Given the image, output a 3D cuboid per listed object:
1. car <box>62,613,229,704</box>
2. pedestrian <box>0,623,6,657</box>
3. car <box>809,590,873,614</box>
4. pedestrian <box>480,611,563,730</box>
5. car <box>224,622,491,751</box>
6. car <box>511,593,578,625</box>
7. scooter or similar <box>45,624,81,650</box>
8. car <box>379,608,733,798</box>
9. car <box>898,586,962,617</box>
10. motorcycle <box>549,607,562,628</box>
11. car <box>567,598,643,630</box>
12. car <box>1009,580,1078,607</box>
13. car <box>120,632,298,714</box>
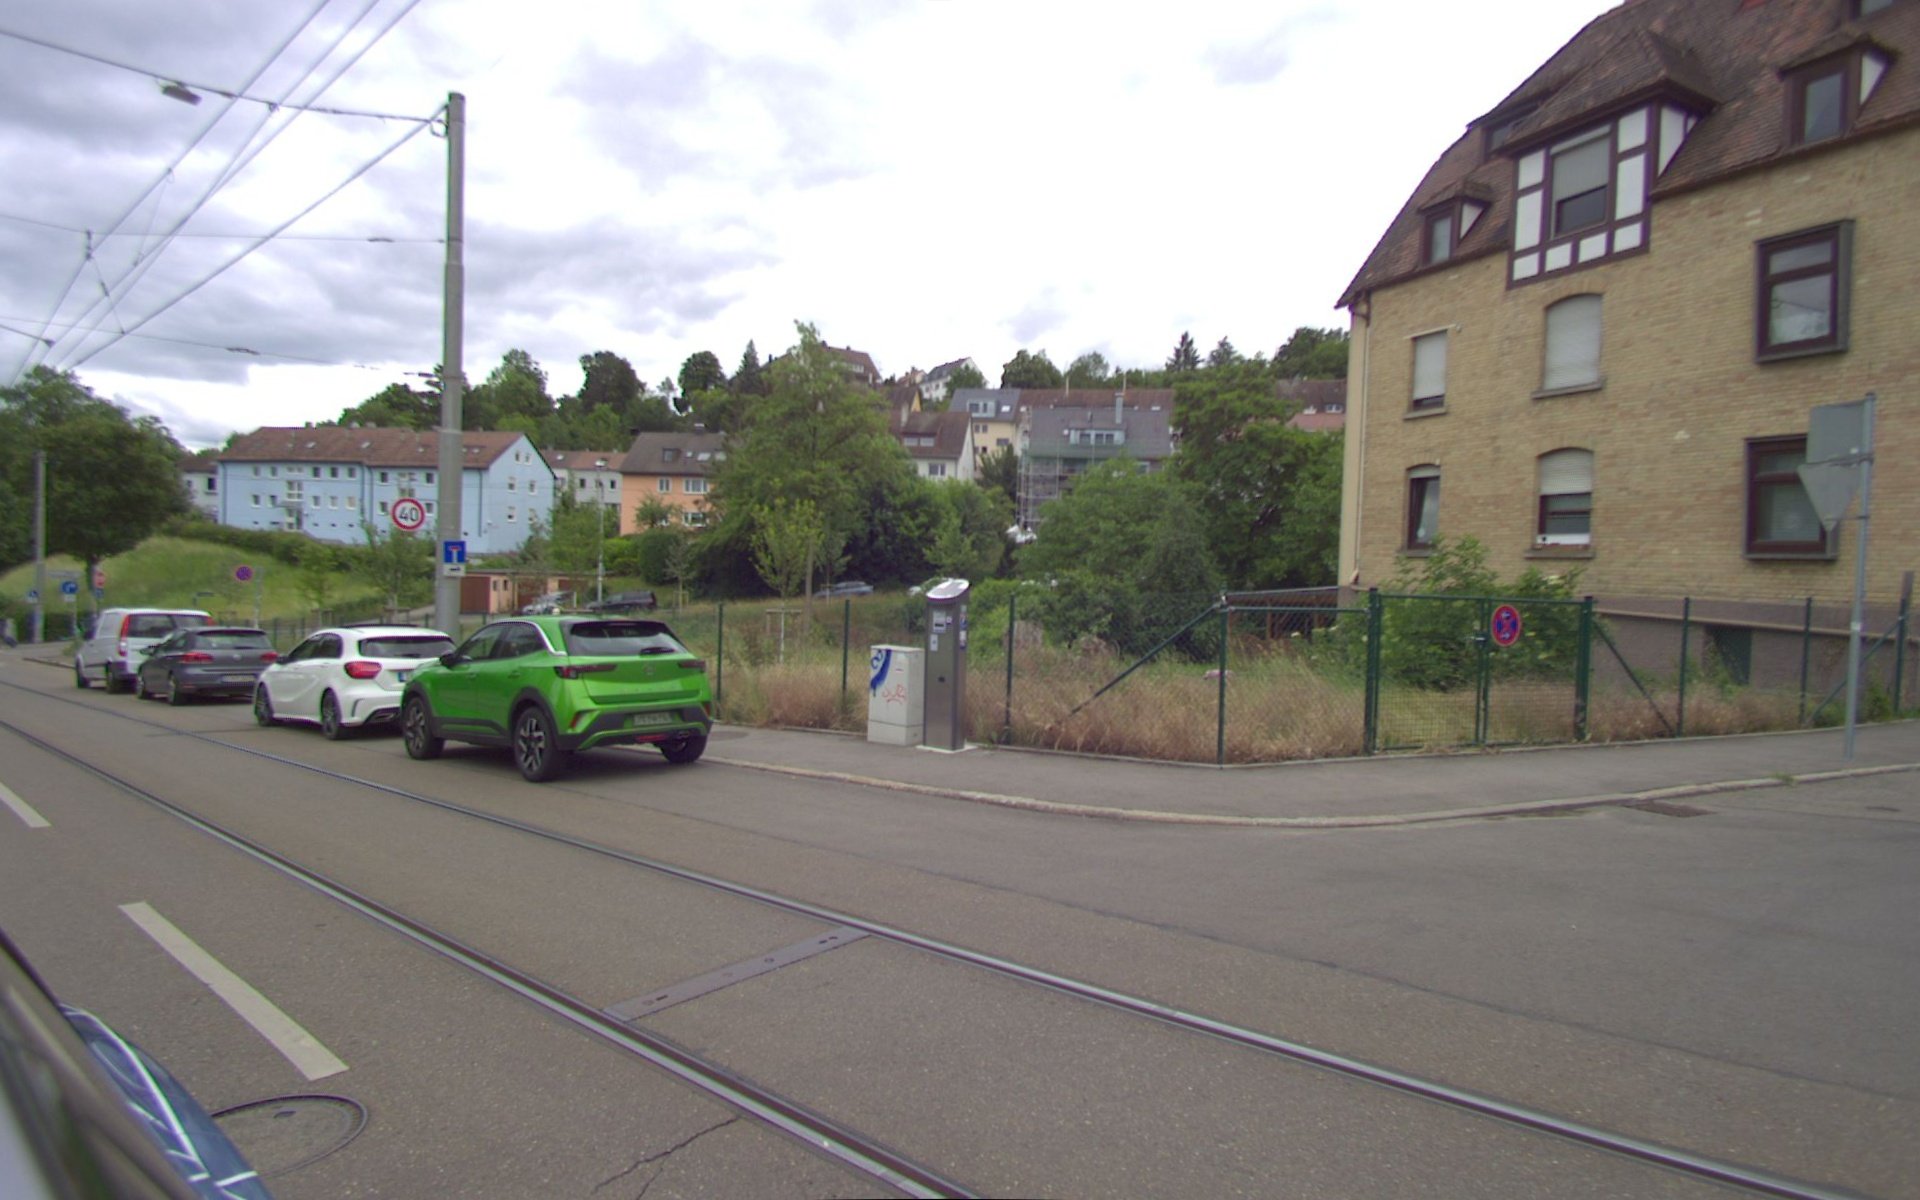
[{"bbox_3d":[-19.032,1.293,23.567,4.881,1.896,2.015,0,-3,40],"label":"car"},{"bbox_3d":[-51.933,2.159,54.370,0.887,1.763,0.744,0,0,-36],"label":"pedestrian"},{"bbox_3d":[-7.861,0.148,66.851,4.065,1.523,1.987,0,0,-10],"label":"car"},{"bbox_3d":[-6.358,0.981,14.674,0.916,1.641,0.796,0,0,42],"label":"pedestrian"},{"bbox_3d":[-8.665,1.098,14.386,4.660,1.537,1.865,-1,-2,41],"label":"car"},{"bbox_3d":[-27.870,0.561,68.034,1.976,1.624,4.871,0,5,7],"label":"car"},{"bbox_3d":[-50.927,2.091,57.456,0.418,1.298,1.394,0,4,41],"label":"scooter or similar"},{"bbox_3d":[-4.333,0.920,10.543,4.178,1.592,1.705,-1,-2,41],"label":"car"},{"bbox_3d":[-2.058,0.076,68.349,4.064,2.029,1.987,0,0,-11],"label":"car"},{"bbox_3d":[-25.335,1.064,63.462,0.513,1.165,1.710,0,4,-14],"label":"motorcycle"},{"bbox_3d":[-22.991,0.889,65.672,4.378,1.702,1.982,-4,1,-11],"label":"car"},{"bbox_3d":[5.737,-0.478,69.845,4.411,1.802,1.906,0,0,-10],"label":"car"},{"bbox_3d":[-14.976,1.367,20.086,4.508,1.443,1.876,-2,-2,41],"label":"car"}]
